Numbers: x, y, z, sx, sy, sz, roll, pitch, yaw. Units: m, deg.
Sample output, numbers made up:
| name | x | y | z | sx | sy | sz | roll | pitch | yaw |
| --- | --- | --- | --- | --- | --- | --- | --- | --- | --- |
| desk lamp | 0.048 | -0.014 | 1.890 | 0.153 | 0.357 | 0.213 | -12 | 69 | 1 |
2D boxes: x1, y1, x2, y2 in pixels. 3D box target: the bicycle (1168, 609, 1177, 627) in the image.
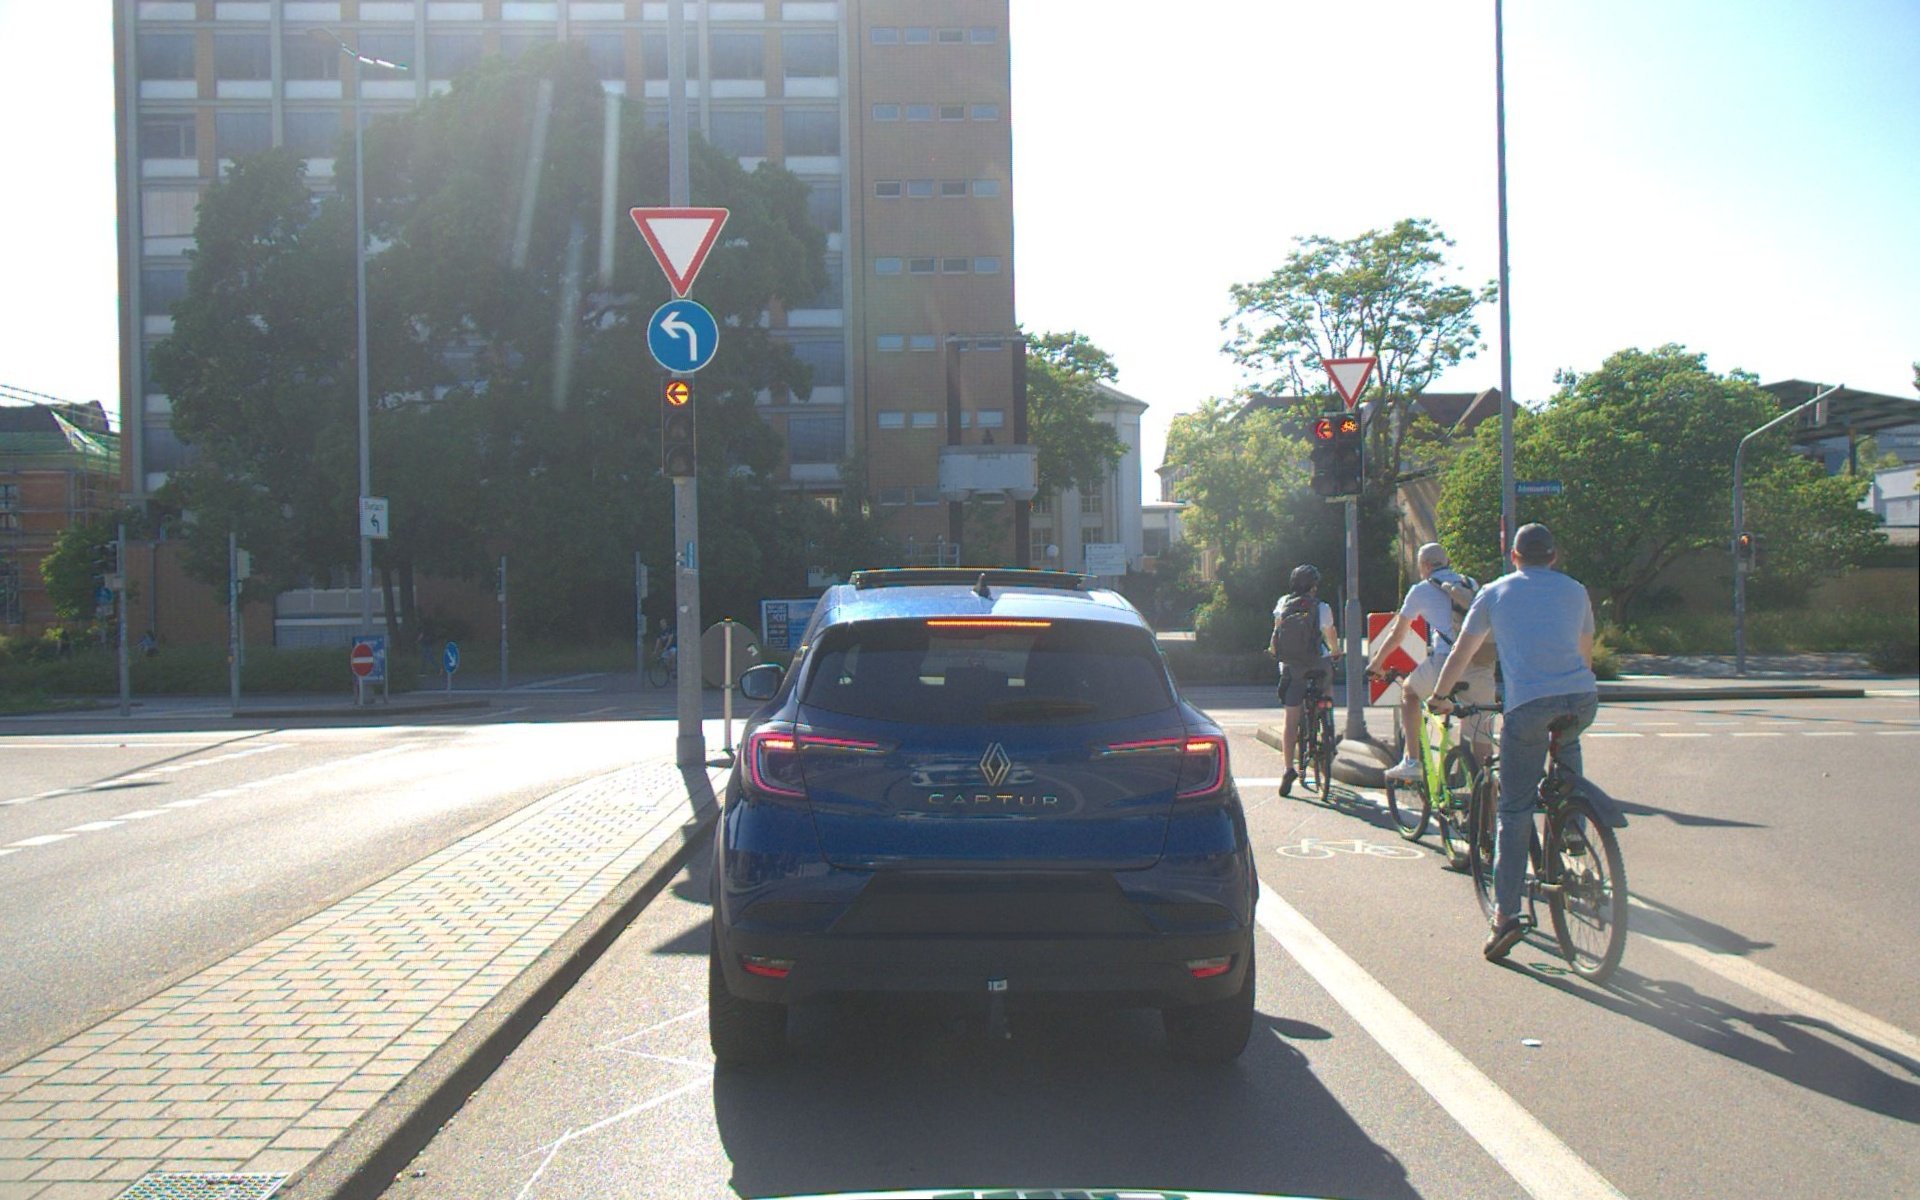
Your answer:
| name | x | y | z | sx | sy | sz | roll | pitch | yaw |
| --- | --- | --- | --- | --- | --- | --- | --- | --- | --- |
| bicycle | 12.159 | 1.025 | 94.569 | 0.397 | 0.990 | 1.684 | 1 | 0 | 3 |

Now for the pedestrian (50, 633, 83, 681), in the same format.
| name | x | y | z | sx | sy | sz | roll | pitch | yaw |
| --- | --- | --- | --- | --- | --- | --- | --- | --- | --- |
| pedestrian | -29.979 | 1.909 | 55.523 | 0.842 | 1.598 | 0.559 | -1 | 0 | 23 |

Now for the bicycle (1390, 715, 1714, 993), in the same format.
| name | x | y | z | sx | sy | sz | roll | pitch | yaw |
| --- | --- | --- | --- | --- | --- | --- | --- | --- | --- |
| bicycle | 2.506 | 1.033 | 7.275 | 0.725 | 0.911 | 1.978 | 1 | 0 | 0 |

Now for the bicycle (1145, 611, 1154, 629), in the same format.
| name | x | y | z | sx | sy | sz | roll | pitch | yaw |
| --- | --- | --- | --- | --- | --- | --- | --- | --- | --- |
| bicycle | 10.798 | 1.147 | 94.224 | 0.397 | 0.990 | 1.684 | 1 | 0 | 3 |

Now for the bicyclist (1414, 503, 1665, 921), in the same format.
| name | x | y | z | sx | sy | sz | roll | pitch | yaw |
| --- | --- | --- | --- | --- | --- | --- | --- | --- | --- |
| bicyclist | 2.512 | 0.459 | 7.272 | 0.736 | 1.698 | 1.016 | 1 | 0 | 0 |

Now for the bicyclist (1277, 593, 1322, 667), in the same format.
| name | x | y | z | sx | sy | sz | roll | pitch | yaw |
| --- | --- | --- | --- | --- | --- | --- | --- | --- | --- |
| bicyclist | 8.906 | 0.781 | 43.400 | 1.078 | 1.900 | 0.653 | -2 | -1 | 10 |

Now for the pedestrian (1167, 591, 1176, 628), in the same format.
| name | x | y | z | sx | sy | sz | roll | pitch | yaw |
| --- | --- | --- | --- | --- | --- | --- | --- | --- | --- |
| pedestrian | 11.831 | 0.541 | 92.564 | 0.465 | 2.049 | 0.468 | -1 | 0 | 5 |

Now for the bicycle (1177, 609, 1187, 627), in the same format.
| name | x | y | z | sx | sy | sz | roll | pitch | yaw |
| --- | --- | --- | --- | --- | --- | --- | --- | --- | --- |
| bicycle | 12.684 | 1.034 | 94.591 | 0.397 | 0.990 | 1.684 | 1 | 0 | 3 |

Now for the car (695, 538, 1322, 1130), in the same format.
| name | x | y | z | sx | sy | sz | roll | pitch | yaw |
| --- | --- | --- | --- | --- | --- | --- | --- | --- | --- |
| car | 0.064 | 0.667 | 6.683 | 1.767 | 1.660 | 3.998 | 1 | 0 | -3 |

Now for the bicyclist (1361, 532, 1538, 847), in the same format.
| name | x | y | z | sx | sy | sz | roll | pitch | yaw |
| --- | --- | --- | --- | --- | --- | --- | --- | --- | --- |
| bicyclist | 2.885 | 0.509 | 9.843 | 0.633 | 1.769 | 1.065 | 1 | 0 | -6 |

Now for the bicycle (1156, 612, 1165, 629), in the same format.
| name | x | y | z | sx | sy | sz | roll | pitch | yaw |
| --- | --- | --- | --- | --- | --- | --- | --- | --- | --- |
| bicycle | 11.408 | 1.157 | 94.190 | 0.397 | 0.990 | 1.684 | 1 | 0 | 3 |

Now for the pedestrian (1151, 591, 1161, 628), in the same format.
| name | x | y | z | sx | sy | sz | roll | pitch | yaw |
| --- | --- | --- | --- | --- | --- | --- | --- | --- | --- |
| pedestrian | 10.800 | 0.517 | 91.197 | 0.465 | 2.049 | 0.523 | -1 | 0 | 5 |

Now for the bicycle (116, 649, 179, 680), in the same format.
| name | x | y | z | sx | sy | sz | roll | pitch | yaw |
| --- | --- | --- | --- | --- | --- | --- | --- | --- | --- |
| bicycle | -25.857 | 2.054 | 52.635 | 2.034 | 0.981 | 0.598 | -1 | 0 | 24 |

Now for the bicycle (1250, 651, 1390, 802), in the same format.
| name | x | y | z | sx | sy | sz | roll | pitch | yaw |
| --- | --- | --- | --- | --- | --- | --- | --- | --- | --- |
| bicycle | 2.764 | 0.935 | 12.925 | 0.723 | 1.012 | 2.174 | 1 | 0 | 3 |

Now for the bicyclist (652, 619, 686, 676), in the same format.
| name | x | y | z | sx | sy | sz | roll | pitch | yaw |
| --- | --- | --- | --- | --- | --- | --- | --- | --- | --- |
| bicyclist | -7.668 | 1.241 | 43.647 | 0.728 | 1.466 | 0.593 | -1 | 0 | -27 |

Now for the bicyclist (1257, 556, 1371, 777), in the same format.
| name | x | y | z | sx | sy | sz | roll | pitch | yaw |
| --- | --- | --- | --- | --- | --- | --- | --- | --- | --- |
| bicyclist | 2.763 | 0.501 | 12.976 | 0.711 | 1.657 | 0.969 | 1 | 0 | 3 |

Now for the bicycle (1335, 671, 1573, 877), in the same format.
| name | x | y | z | sx | sy | sz | roll | pitch | yaw |
| --- | --- | --- | --- | --- | --- | --- | --- | --- | --- |
| bicycle | 2.874 | 0.977 | 9.846 | 0.646 | 1.020 | 1.967 | 1 | 0 | -6 |

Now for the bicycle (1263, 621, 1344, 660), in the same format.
| name | x | y | z | sx | sy | sz | roll | pitch | yaw |
| --- | --- | --- | --- | --- | --- | --- | --- | --- | --- |
| bicycle | 9.008 | 1.066 | 43.421 | 2.037 | 0.946 | 0.697 | -2 | 1 | 9 |

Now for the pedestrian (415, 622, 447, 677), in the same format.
| name | x | y | z | sx | sy | sz | roll | pitch | yaw |
| --- | --- | --- | --- | --- | --- | --- | --- | --- | --- |
| pedestrian | -16.085 | 1.506 | 50.290 | 0.721 | 1.631 | 0.599 | -1 | 0 | 13 |

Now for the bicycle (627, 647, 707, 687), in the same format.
| name | x | y | z | sx | sy | sz | roll | pitch | yaw |
| --- | --- | --- | --- | --- | --- | --- | --- | --- | --- |
| bicycle | -7.716 | 1.765 | 43.620 | 1.982 | 0.981 | 0.593 | -1 | 0 | -28 |

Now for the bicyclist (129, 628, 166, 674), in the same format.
| name | x | y | z | sx | sy | sz | roll | pitch | yaw |
| --- | --- | --- | --- | --- | --- | --- | --- | --- | --- |
| bicyclist | -25.858 | 1.621 | 52.638 | 0.917 | 1.454 | 0.598 | -1 | 0 | 23 |
